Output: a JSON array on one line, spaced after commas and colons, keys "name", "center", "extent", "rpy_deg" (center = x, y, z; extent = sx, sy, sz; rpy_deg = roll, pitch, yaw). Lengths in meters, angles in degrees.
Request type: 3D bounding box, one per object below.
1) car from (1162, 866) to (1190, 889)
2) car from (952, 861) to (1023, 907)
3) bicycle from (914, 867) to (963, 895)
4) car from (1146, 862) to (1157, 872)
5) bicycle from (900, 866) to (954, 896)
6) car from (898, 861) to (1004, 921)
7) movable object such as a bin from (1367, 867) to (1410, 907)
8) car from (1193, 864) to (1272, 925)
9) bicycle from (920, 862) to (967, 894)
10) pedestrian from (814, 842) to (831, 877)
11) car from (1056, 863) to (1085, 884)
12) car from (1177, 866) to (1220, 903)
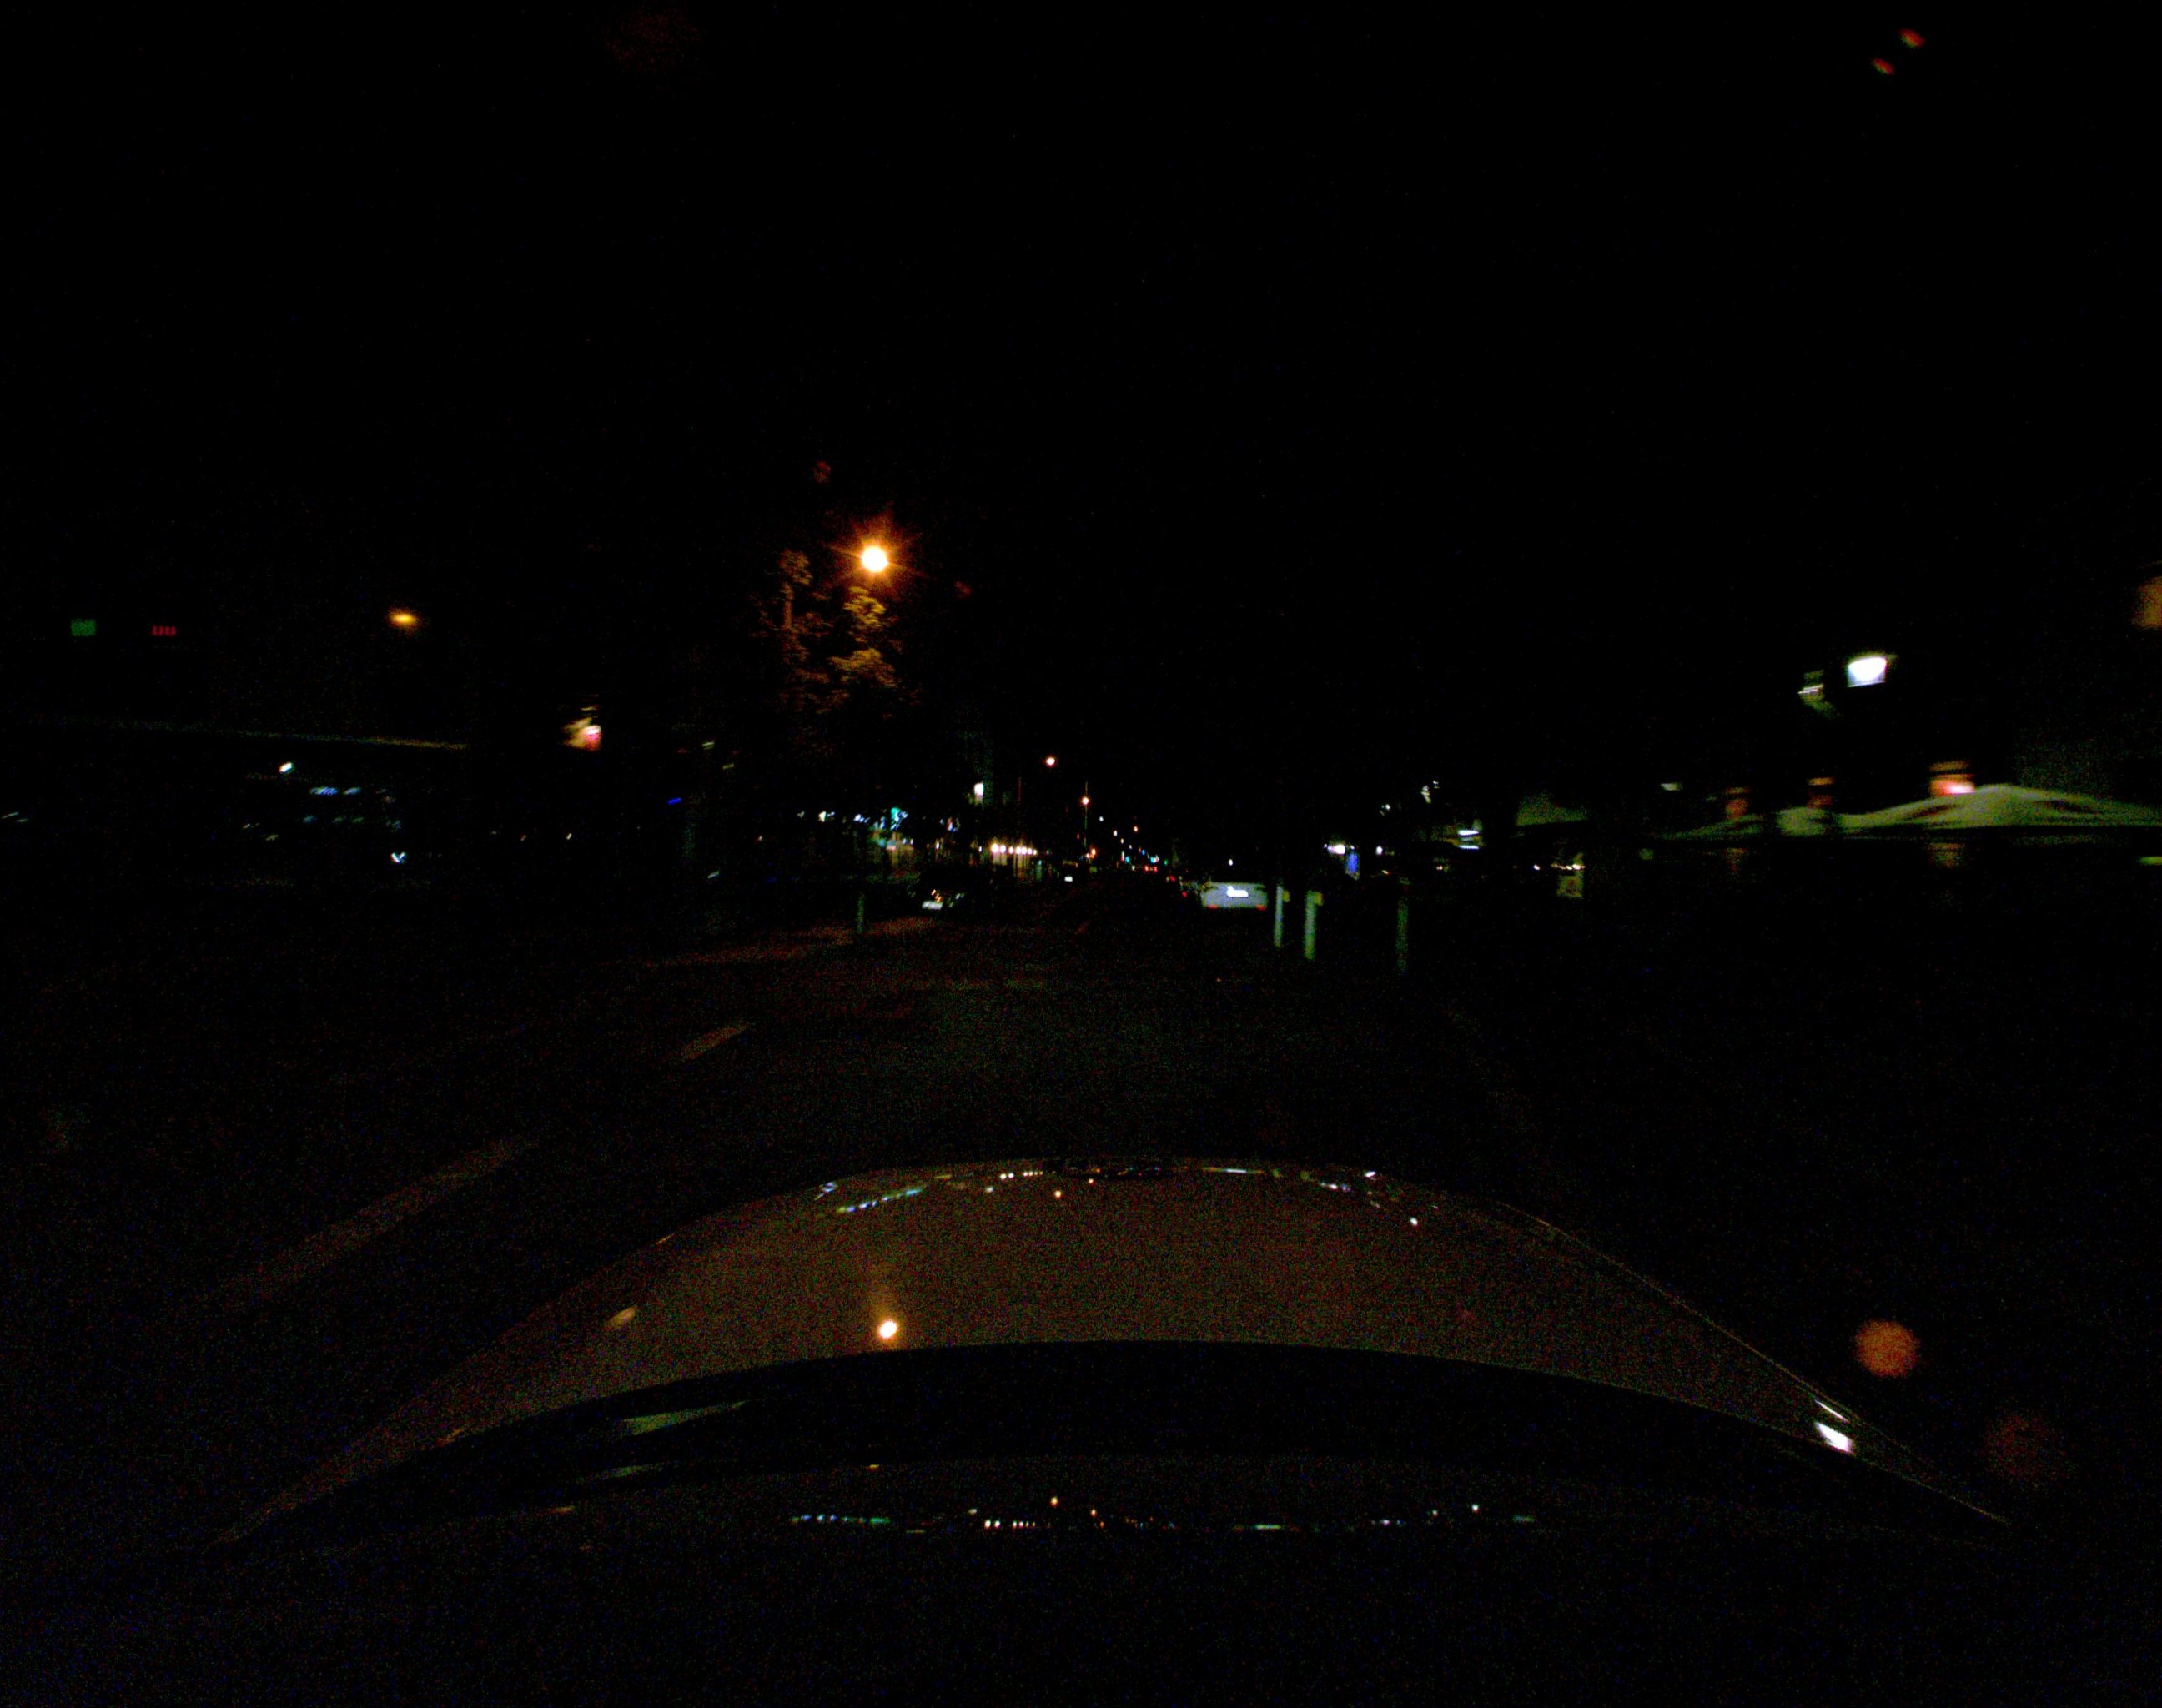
[{"name": "car", "center": [6.364, 1.547, 54.846], "extent": [1.756, 1.414, 4.814], "rpy_deg": [1, 0, 5]}, {"name": "car", "center": [-3.292, 1.033, 29.396], "extent": [1.714, 1.428, 3.981], "rpy_deg": [3, 0, 4]}, {"name": "bicycle", "center": [-5.824, 1.083, 33.335], "extent": [1.843, 1.035, 0.533], "rpy_deg": [3, -1, 3]}, {"name": "car", "center": [12.175, 2.301, 140.779], "extent": [1.985, 1.643, 4.004], "rpy_deg": [1, -1, 4]}, {"name": "bicycle", "center": [-5.768, 0.995, 30.534], "extent": [1.843, 1.000, 0.533], "rpy_deg": [3, -1, 3]}, {"name": "car", "center": [-3.597, 0.973, 23.453], "extent": [1.798, 1.425, 4.927], "rpy_deg": [3, 0, 5]}, {"name": "movable object such as a bin", "center": [11.056, 1.184, 29.295], "extent": [1.156, 1.371, 0.994], "rpy_deg": [2, -1, 3]}, {"name": "car", "center": [4.108, 1.046, 22.666], "extent": [1.762, 1.537, 4.222], "rpy_deg": [0, -1, 5]}, {"name": "bicycle", "center": [-5.736, 0.991, 33.978], "extent": [1.842, 1.254, 0.533], "rpy_deg": [1, -1, 3]}, {"name": "pedestrian", "center": [-12.356, 0.248, 38.930], "extent": [0.476, 1.636, 0.633], "rpy_deg": [1, -1, 5]}, {"name": "car", "center": [-0.749, 1.417, 61.140], "extent": [1.733, 1.413, 4.501], "rpy_deg": [2, 0, 5]}, {"name": "car", "center": [5.154, 1.300, 36.184], "extent": [1.682, 1.537, 4.021], "rpy_deg": [0, -1, 5]}]
